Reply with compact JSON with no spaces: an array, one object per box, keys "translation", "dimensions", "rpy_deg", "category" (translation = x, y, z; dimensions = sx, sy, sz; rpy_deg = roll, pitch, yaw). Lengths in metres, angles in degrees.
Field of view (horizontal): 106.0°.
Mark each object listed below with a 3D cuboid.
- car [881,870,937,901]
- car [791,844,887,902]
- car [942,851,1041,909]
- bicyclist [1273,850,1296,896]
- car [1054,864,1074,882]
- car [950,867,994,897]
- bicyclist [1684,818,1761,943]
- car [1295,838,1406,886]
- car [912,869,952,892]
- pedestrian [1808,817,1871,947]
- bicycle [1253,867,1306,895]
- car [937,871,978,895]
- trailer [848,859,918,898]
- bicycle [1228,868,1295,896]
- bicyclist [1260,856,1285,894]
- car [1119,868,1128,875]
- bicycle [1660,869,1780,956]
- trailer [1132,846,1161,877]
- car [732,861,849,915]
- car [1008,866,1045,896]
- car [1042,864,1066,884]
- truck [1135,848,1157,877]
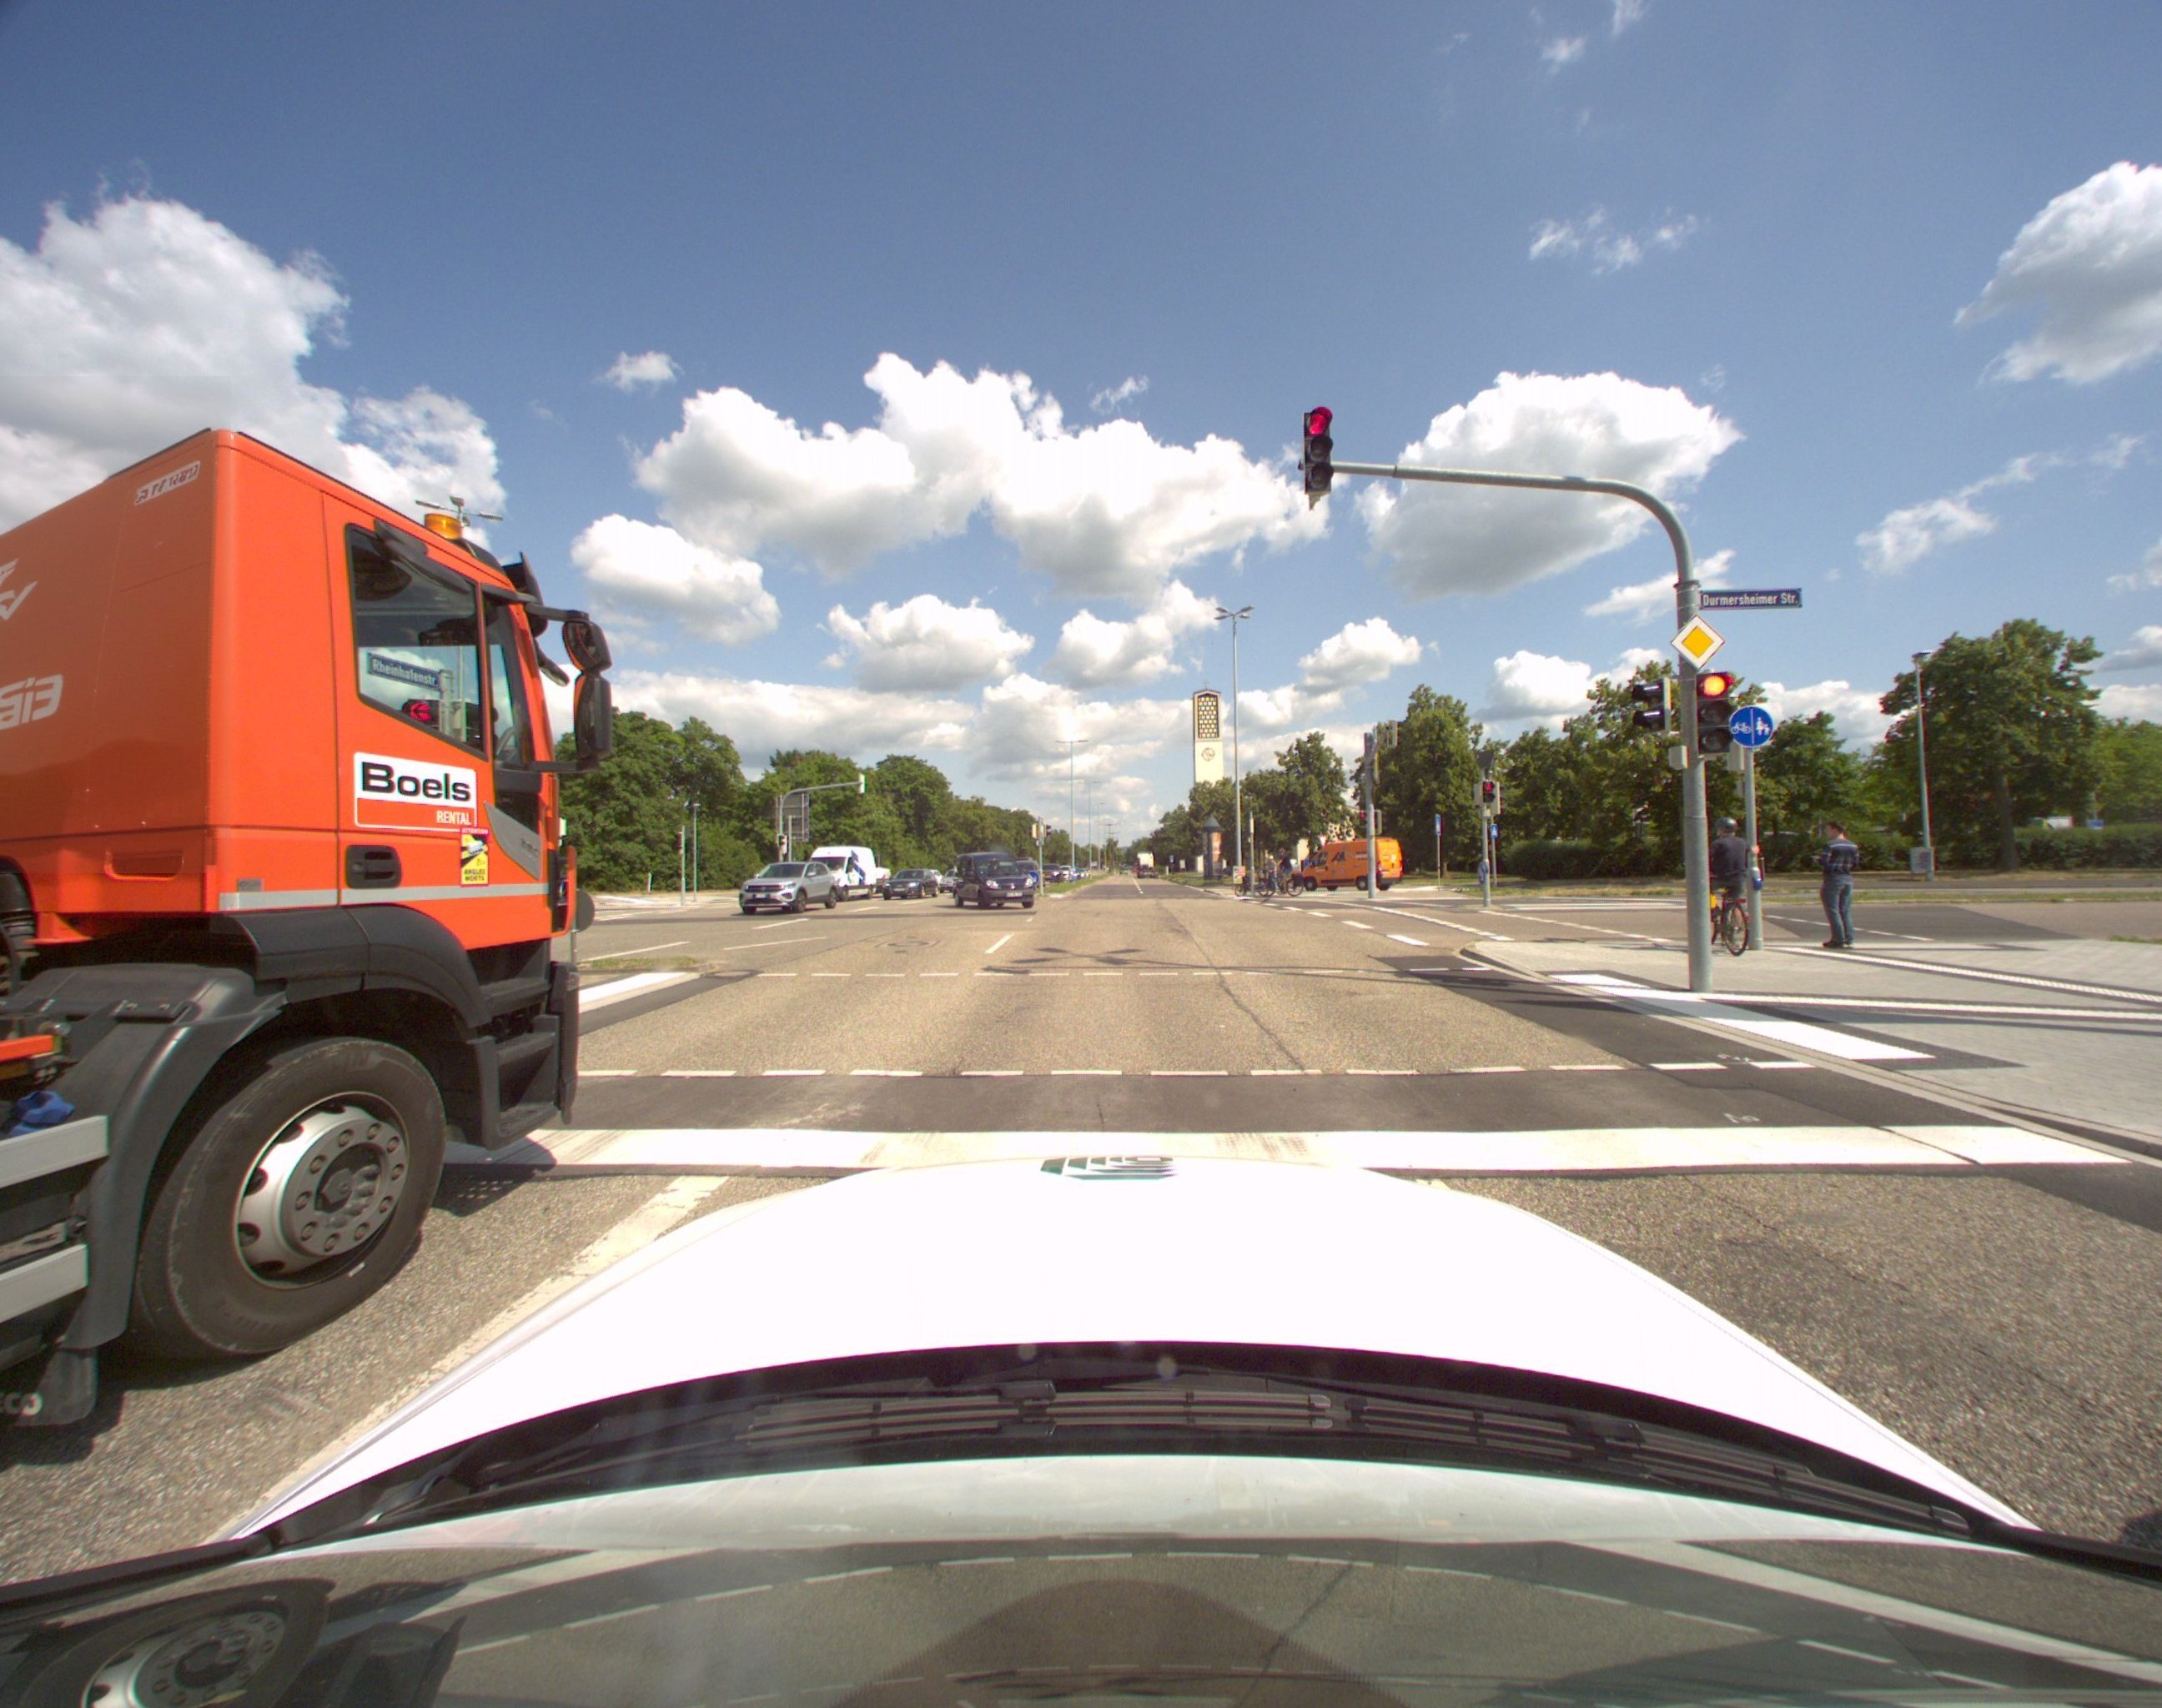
[{"translation":[-7.948,1.434,38.005],"dimensions":[1.757,1.352,3.520],"rpy_deg":[-1,-1,2],"category":"car"},{"translation":[-11.276,0.890,38.555],"dimensions":[2.163,2.471,5.976],"rpy_deg":[1,-1,6],"category":"car"},{"translation":[-2.923,0.790,25.805],"dimensions":[1.744,1.660,4.194],"rpy_deg":[2,-1,-26],"category":"car"},{"translation":[8.217,0.759,32.938],"dimensions":[0.783,1.804,0.687],"rpy_deg":[-1,-1,5],"category":"bicyclist"},{"translation":[-1.709,1.903,82.170],"dimensions":[1.727,1.660,4.233],"rpy_deg":[1,-1,3],"category":"car"},{"translation":[-5.049,1.297,38.124],"dimensions":[1.563,1.316,3.431],"rpy_deg":[1,-1,0],"category":"car"},{"translation":[8.868,0.355,11.280],"dimensions":[0.643,1.661,0.653],"rpy_deg":[1,-1,16],"category":"bicyclist"},{"translation":[13.333,0.411,40.506],"dimensions":[2.222,2.226,4.805],"rpy_deg":[2,-1,-38],"category":"car"},{"translation":[-10.161,1.798,55.749],"dimensions":[1.851,1.513,4.001],"rpy_deg":[1,-1,2],"category":"car"},{"translation":[10.679,0.385,11.476],"dimensions":[0.461,1.779,0.483],"rpy_deg":[1,-1,11],"category":"pedestrian"},{"translation":[8.018,1.101,32.954],"dimensions":[1.987,1.093,0.686],"rpy_deg":[-1,-1,4],"category":"bicycle"},{"translation":[-7.445,1.723,49.408],"dimensions":[1.719,1.398,4.001],"rpy_deg":[1,-1,2],"category":"car"},{"translation":[-10.868,1.313,45.101],"dimensions":[2.114,2.014,5.169],"rpy_deg":[1,-1,6],"category":"trailer"},{"translation":[7.677,1.176,34.567],"dimensions":[2.844,1.112,0.791],"rpy_deg":[0,-1,-22],"category":"bicycle"},{"translation":[8.192,0.882,34.777],"dimensions":[0.701,1.616,0.791],"rpy_deg":[0,-1,-22],"category":"bicyclist"},{"translation":[9.612,3.985,185.773],"dimensions":[1.986,1.552,4.001],"rpy_deg":[1,-1,2],"category":"car"},{"translation":[8.914,0.770,11.460],"dimensions":[0.643,1.108,1.936],"rpy_deg":[1,-1,16],"category":"bicycle"},{"translation":[9.080,1.082,111.403],"dimensions":[3.602,4.012,11.336],"rpy_deg":[-1,-2,6],"category":"trailer"},{"translation":[-8.956,1.018,25.527],"dimensions":[1.726,1.543,4.316],"rpy_deg":[1,-1,6],"category":"car"},{"translation":[-3.235,1.583,49.162],"dimensions":[1.728,1.660,4.233],"rpy_deg":[1,0,2],"category":"car"},{"translation":[-2.206,1.659,68.115],"dimensions":[1.728,1.660,4.232],"rpy_deg":[1,-1,2],"category":"car"},{"translation":[9.579,1.308,119.467],"dimensions":[2.944,3.971,8.651],"rpy_deg":[-1,-2,6],"category":"truck"}]
